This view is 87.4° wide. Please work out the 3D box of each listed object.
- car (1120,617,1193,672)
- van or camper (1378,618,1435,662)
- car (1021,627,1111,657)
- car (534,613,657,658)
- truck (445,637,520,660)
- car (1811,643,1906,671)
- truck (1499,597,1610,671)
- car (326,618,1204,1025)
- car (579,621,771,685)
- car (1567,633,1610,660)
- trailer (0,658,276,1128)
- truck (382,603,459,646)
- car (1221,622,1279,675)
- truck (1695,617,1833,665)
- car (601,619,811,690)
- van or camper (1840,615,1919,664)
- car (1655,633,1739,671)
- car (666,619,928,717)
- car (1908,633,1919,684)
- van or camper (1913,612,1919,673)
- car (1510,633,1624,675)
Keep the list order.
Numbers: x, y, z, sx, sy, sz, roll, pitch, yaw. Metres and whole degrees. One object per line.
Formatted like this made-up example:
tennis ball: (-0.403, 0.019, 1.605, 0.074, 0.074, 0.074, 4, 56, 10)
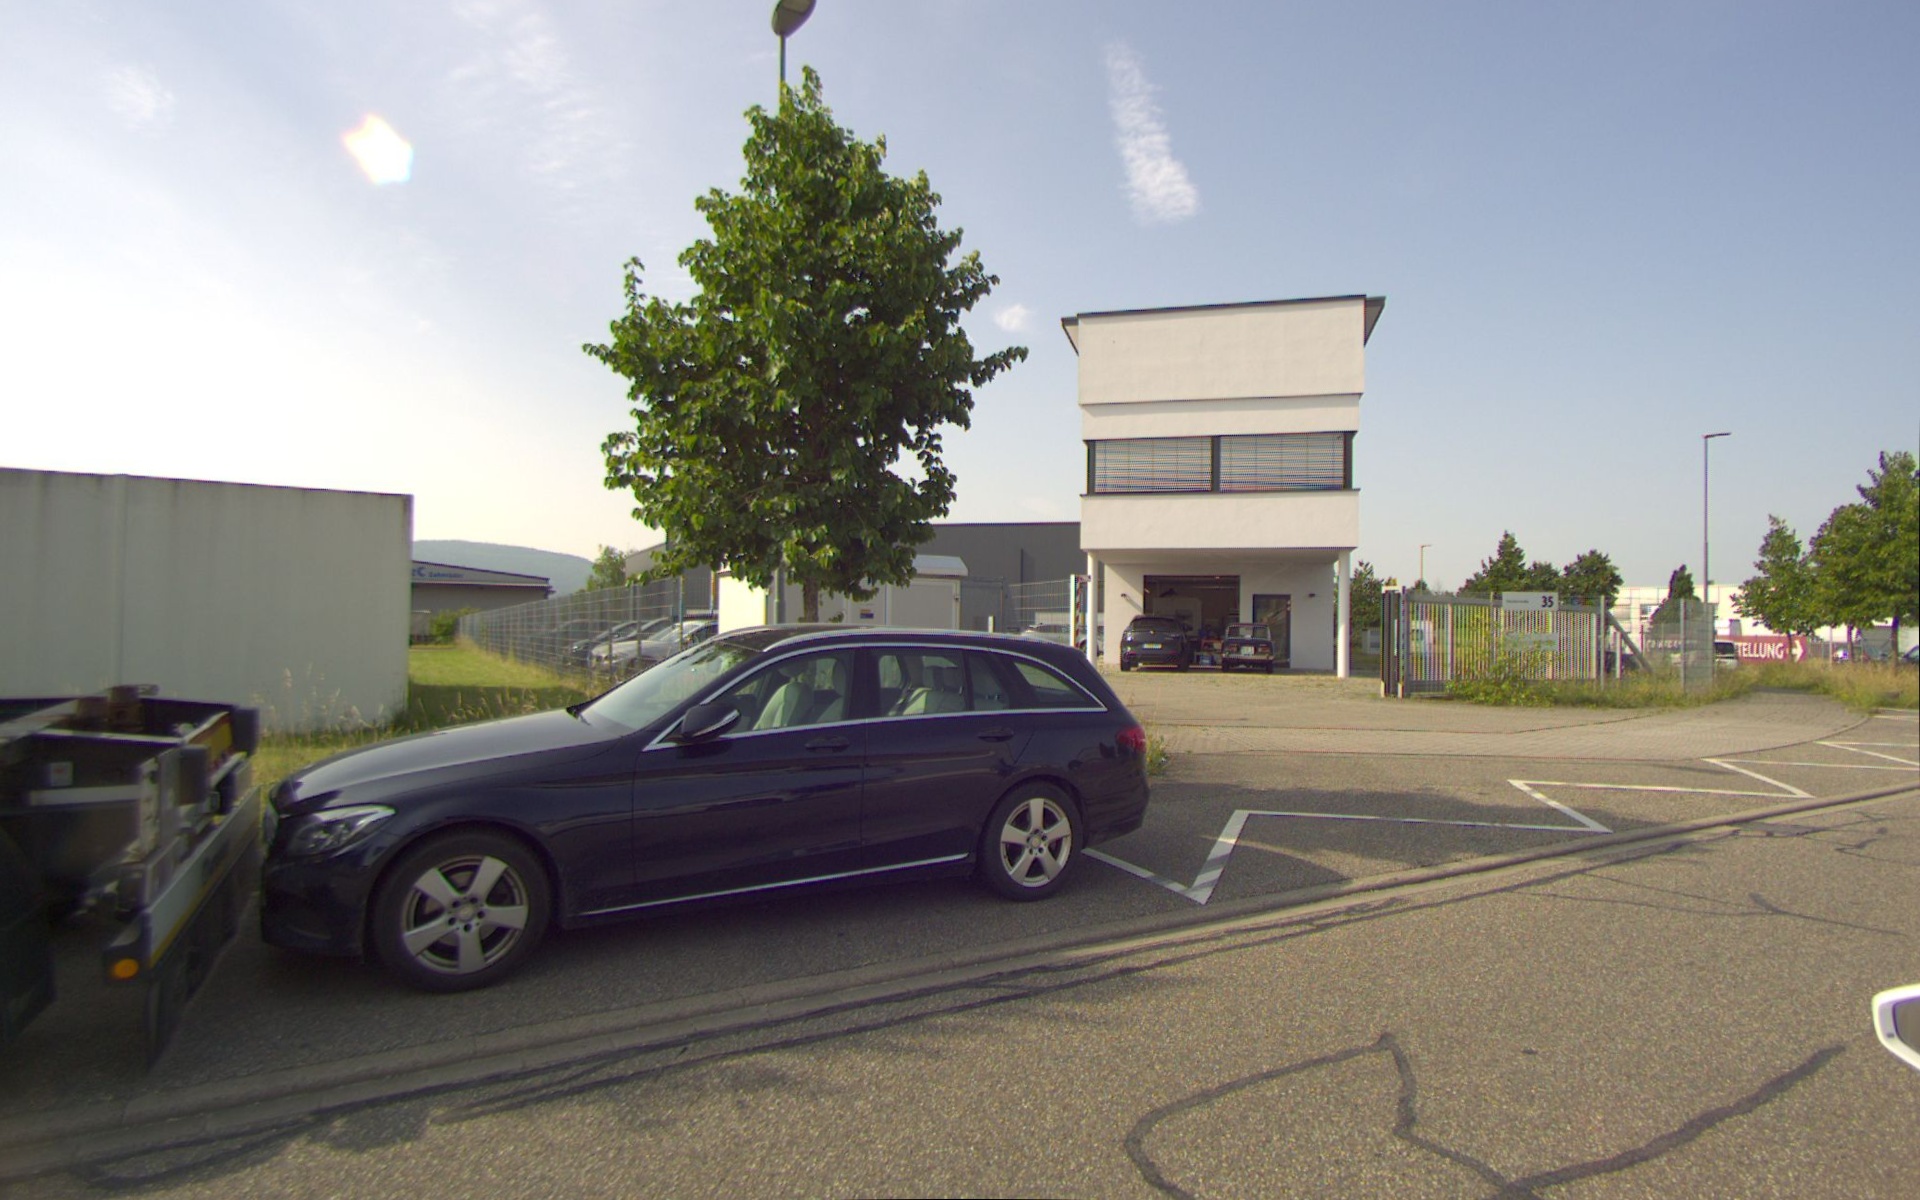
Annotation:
car: (5.932, 1.305, 30.019, 1.831, 1.507, 4.002, 1, -2, 15)
van or camper: (27.639, 2.448, 62.362, 2.266, 2.594, 4.957, 0, -2, 12)
car: (4.771, 1.892, 45.267, 3.842, 1.264, 1.564, 0, -2, 14)
car: (-14.910, 1.465, 41.133, 4.409, 1.750, 1.972, 2, -2, -34)
truck: (-28.615, 2.910, 60.261, 3.947, 1.327, 1.860, 2, -2, -26)
car: (50.439, 3.169, 56.431, 3.933, 1.496, 2.167, 1, -2, -15)
truck: (35.983, 2.077, 61.390, 2.582, 3.980, 12.926, 1, -2, 16)
car: (-0.946, 0.894, 5.736, 4.379, 1.486, 1.984, 1, 0, -30)
car: (-7.273, 1.301, 25.769, 4.426, 1.514, 1.926, 1, -1, -31)
car: (49.671, 3.679, 79.453, 1.788, 2.004, 4.002, -3, -2, 16)
trailer: (-5.999, 0.847, 2.342, 7.070, 1.249, 2.120, 1, 0, -29)
truck: (-32.914, 1.507, 61.395, 3.945, 2.547, 1.988, 2, -2, -25)
car: (8.522, 1.395, 29.629, 1.531, 1.434, 3.924, 1, -2, 15)
truck: (70.650, 3.530, 88.562, 2.431, 4.025, 9.235, 2, -1, -31)
car: (-5.873, 1.205, 23.349, 4.426, 1.514, 1.824, 1, -1, -31)
van or camper: (61.605, 2.594, 66.677, 6.710, 3.125, 2.651, 1, -1, -28)
car: (39.893, 2.790, 54.530, 1.959, 1.924, 4.471, 1, -2, 11)
car: (-2.810, 1.103, 17.742, 4.261, 1.545, 1.759, 1, -1, -35)
car: (35.068, 2.064, 35.222, 1.966, 1.828, 3.989, -1, -2, 33)
van or camper: (47.158, 2.019, 46.328, 2.293, 2.982, 6.969, 0, -2, 23)
car: (23.449, 2.069, 38.923, 3.433, 1.473, 1.598, 2, -1, 13)
